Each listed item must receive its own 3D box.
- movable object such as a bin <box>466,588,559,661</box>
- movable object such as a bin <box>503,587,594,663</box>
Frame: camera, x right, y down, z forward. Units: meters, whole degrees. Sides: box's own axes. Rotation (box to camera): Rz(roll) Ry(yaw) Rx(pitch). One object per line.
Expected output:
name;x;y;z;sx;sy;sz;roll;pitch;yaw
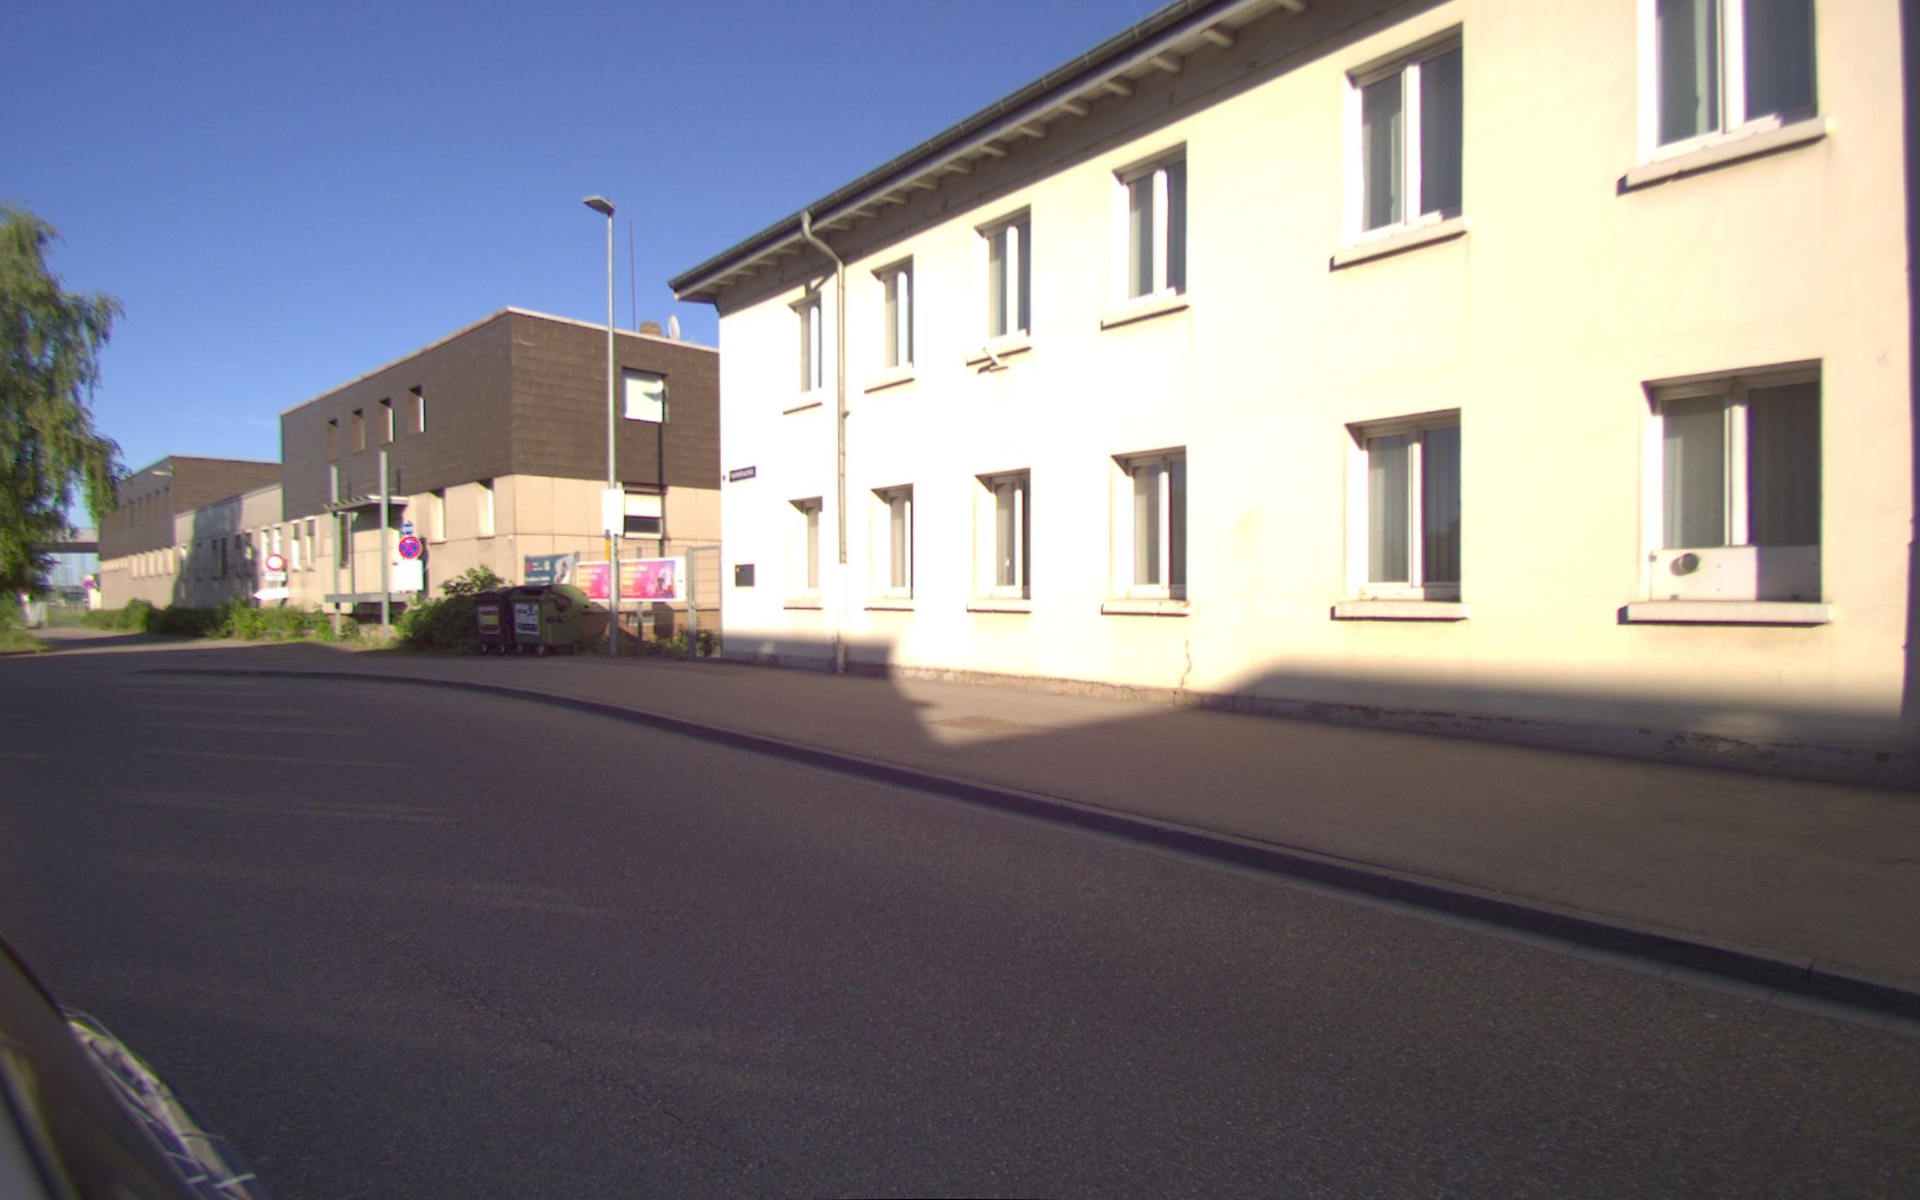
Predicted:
movable object such as a bin;-9.437;0.495;21.369;1.287;1.482;1.347;-1;0;38
movable object such as a bin;-8.346;0.484;20.519;1.371;1.482;1.187;-1;0;38
